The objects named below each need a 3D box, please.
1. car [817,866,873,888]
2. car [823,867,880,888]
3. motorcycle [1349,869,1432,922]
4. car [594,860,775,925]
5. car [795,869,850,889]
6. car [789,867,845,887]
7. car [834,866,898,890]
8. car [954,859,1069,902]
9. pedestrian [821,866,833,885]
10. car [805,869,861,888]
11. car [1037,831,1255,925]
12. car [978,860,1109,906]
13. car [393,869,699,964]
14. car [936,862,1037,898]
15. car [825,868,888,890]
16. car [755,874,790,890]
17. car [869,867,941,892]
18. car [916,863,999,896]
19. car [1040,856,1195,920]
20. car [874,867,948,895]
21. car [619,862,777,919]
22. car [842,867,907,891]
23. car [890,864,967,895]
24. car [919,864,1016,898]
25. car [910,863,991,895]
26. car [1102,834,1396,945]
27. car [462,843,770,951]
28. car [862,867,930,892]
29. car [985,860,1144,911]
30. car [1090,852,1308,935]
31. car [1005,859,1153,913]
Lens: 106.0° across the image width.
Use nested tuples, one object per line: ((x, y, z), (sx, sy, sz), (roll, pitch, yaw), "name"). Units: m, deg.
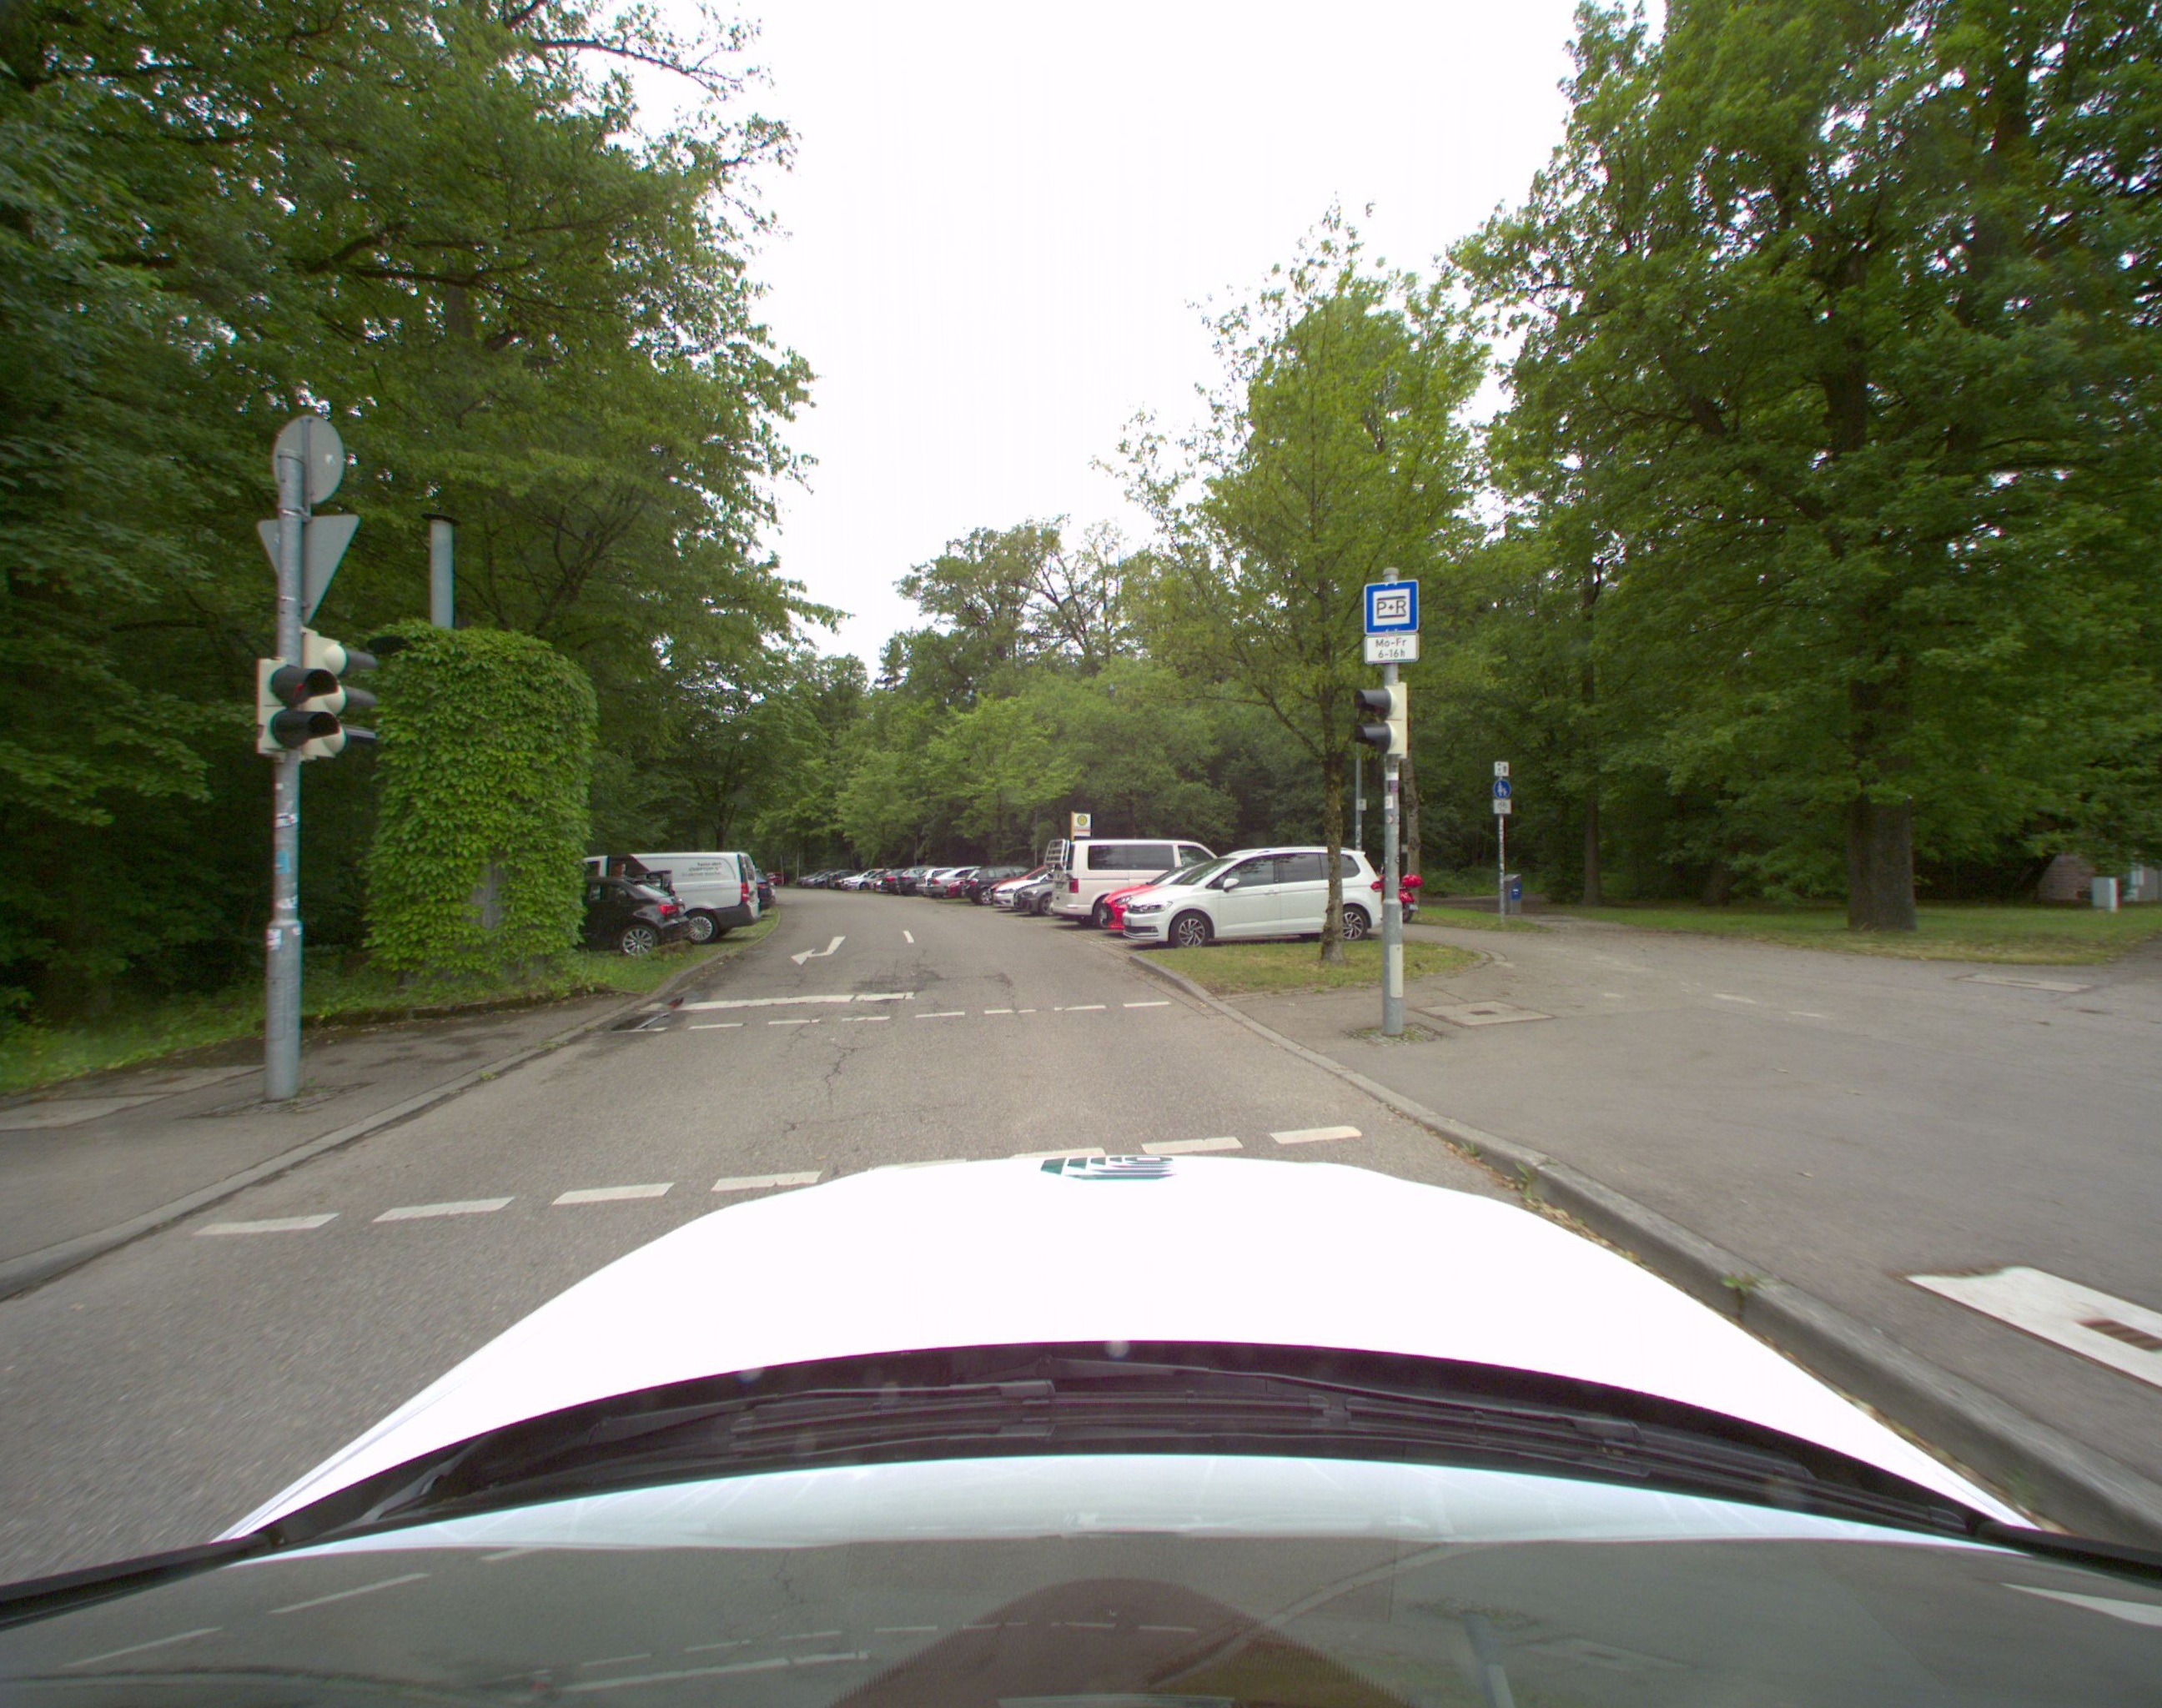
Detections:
((-18.751, 1.814, 64.743), (3.853, 1.531, 1.832), (-1, -1, -32), "car")
((-17.678, 1.829, 62.799), (3.852, 1.457, 1.791), (-1, -1, -31), "car")
((7.411, 0.956, 19.576), (0.677, 1.160, 1.996), (0, 0, -23), "motorcycle")
((-11.325, 1.057, 23.640), (4.437, 1.694, 2.157), (0, -1, -18), "car")
((-21.927, 2.085, 69.016), (4.019, 1.552, 1.953), (0, -1, -38), "car")
((-23.104, 1.968, 71.296), (4.295, 1.666, 1.938), (0, -1, -33), "car")
((-15.363, 1.687, 58.203), (4.031, 1.559, 1.959), (0, -1, -28), "car")
((-2.654, 0.990, 31.005), (4.001, 1.483, 1.909), (-1, -1, -20), "car")
((-23.818, 2.015, 76.370), (0.823, 1.726, 0.993), (0, -2, -35), "pedestrian")
((-20.367, 1.998, 66.910), (4.013, 1.475, 1.933), (0, -1, -31), "car")
((1.484, 0.548, 19.149), (4.659, 2.021, 2.071), (1, 0, -17), "car")
((-1.335, 0.980, 28.777), (4.243, 1.480, 1.906), (-1, -1, -21), "car")
((-8.837, 0.980, 13.859), (3.996, 1.379, 1.713), (0, -1, -17), "car")
((-4.169, 1.125, 35.805), (4.006, 1.450, 1.925), (-1, -1, -25), "car")
((-16.627, 1.792, 60.368), (4.216, 1.512, 1.874), (0, -1, -32), "car")
((-29.917, 2.717, 78.932), (2.008, 1.479, 4.918), (0, -1, -35), "car")
((-10.670, 1.520, 49.375), (3.955, 1.411, 1.861), (0, -1, -28), "car")
((-6.139, 1.254, 40.415), (3.719, 1.511, 1.737), (-1, -2, -24), "car")
((0.960, 0.897, 21.822), (3.733, 1.554, 1.835), (1, 1, -19), "car")
((-9.759, 1.502, 46.783), (3.791, 1.481, 1.757), (0, -1, -30), "car")
((-12.079, 1.129, 26.026), (4.370, 1.598, 2.017), (-1, -1, -20), "car")
((-14.178, 1.696, 55.983), (4.003, 1.484, 1.865), (0, -1, -32), "car")
((-8.306, 1.365, 44.457), (3.787, 1.589, 1.933), (0, -1, -25), "car")
((-5.336, 1.251, 38.185), (4.144, 1.461, 1.851), (-1, -1, -23), "car")
((-6.806, 1.297, 42.466), (3.863, 1.546, 1.715), (-1, -1, -27), "car")
((2.818, 0.568, 14.173), (4.522, 1.693, 2.157), (-1, -1, -12), "car")
((-9.232, 0.800, 16.705), (5.096, 1.915, 1.967), (-1, -1, -16), "car")
((-11.780, 1.590, 51.894), (3.823, 1.441, 1.850), (0, -1, -36), "car")
((-0.552, 0.960, 26.116), (4.784, 1.476, 1.842), (-1, 0, -18), "car")
((2.326, 0.767, 16.595), (3.998, 1.555, 1.940), (1, 0, -11), "car")
((-0.073, 0.938, 23.891), (3.998, 1.483, 1.865), (1, -3, -19), "car")
